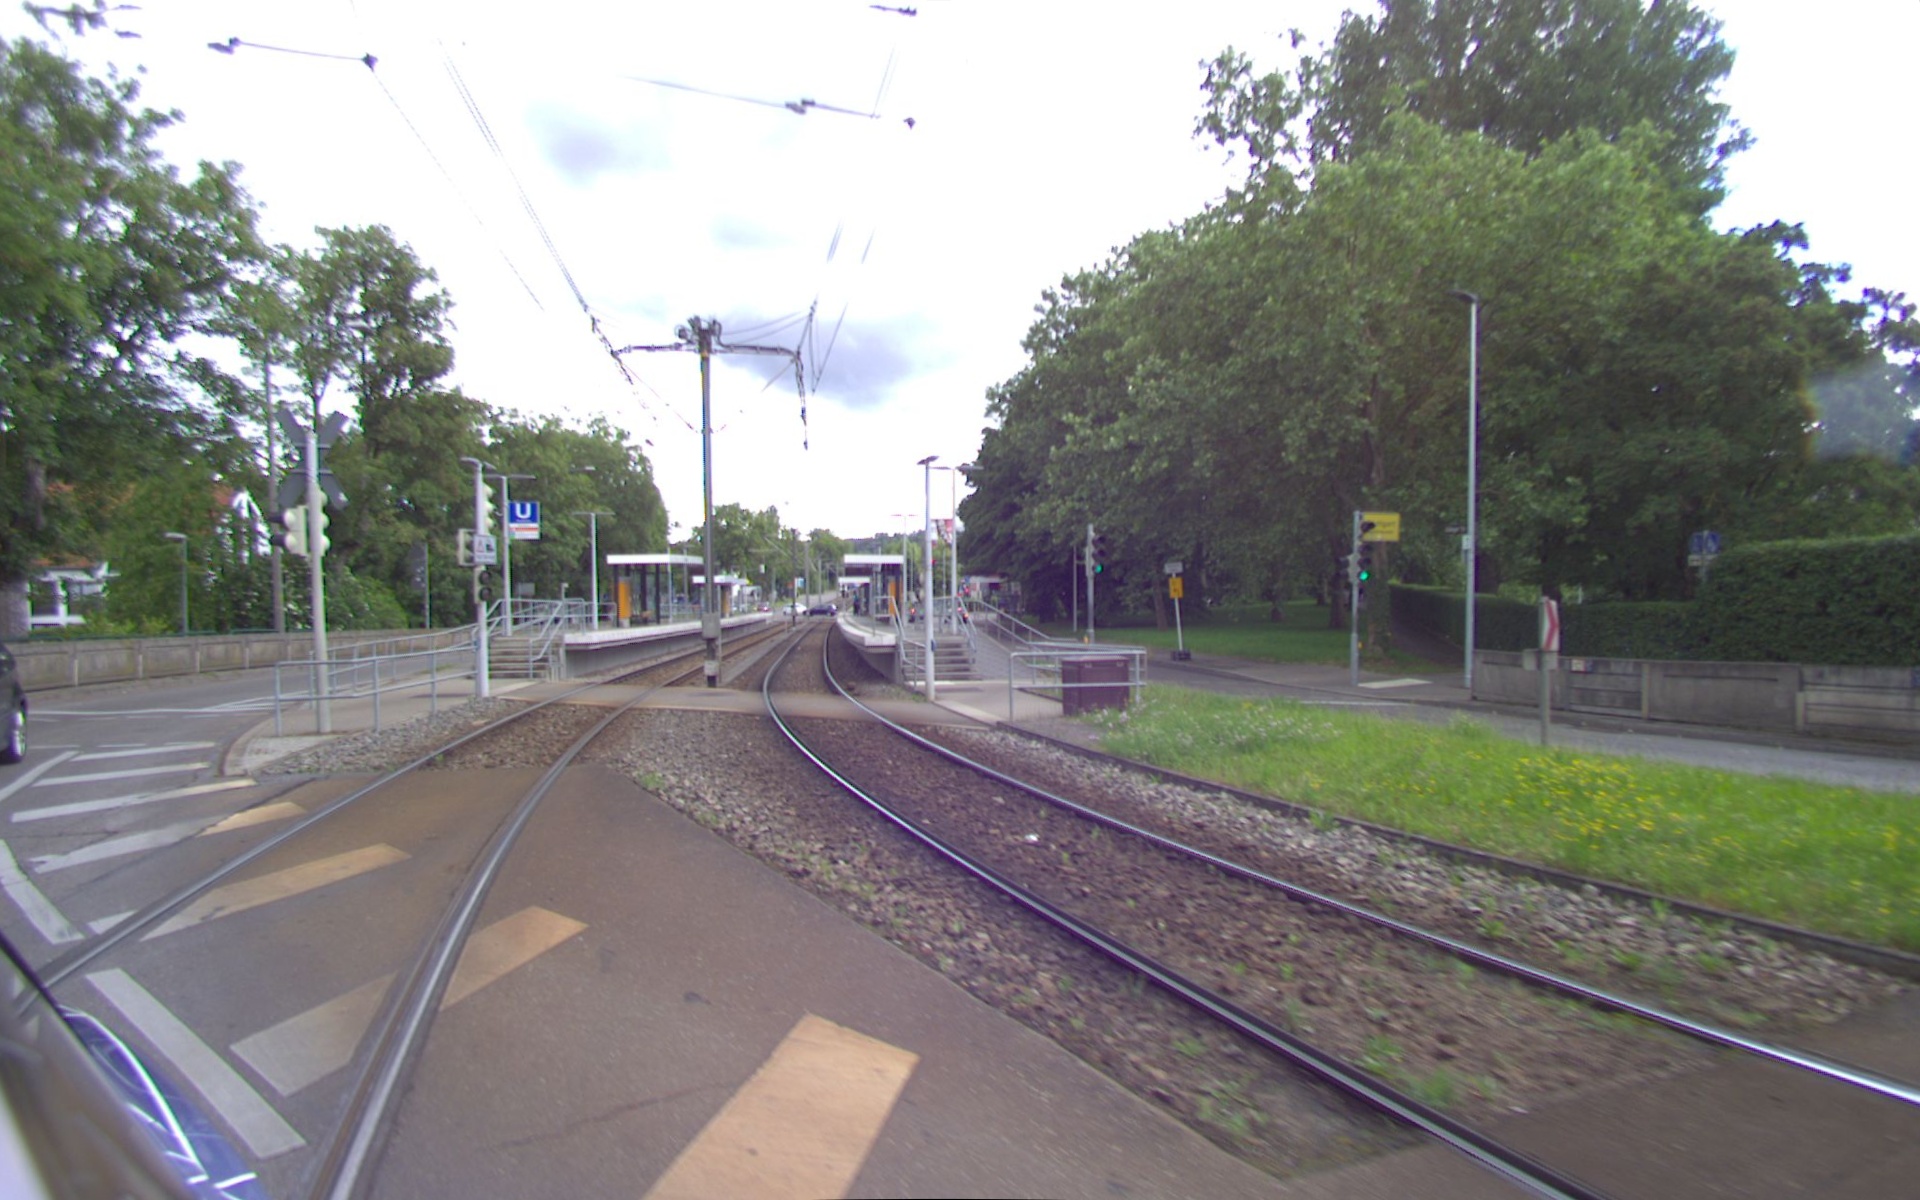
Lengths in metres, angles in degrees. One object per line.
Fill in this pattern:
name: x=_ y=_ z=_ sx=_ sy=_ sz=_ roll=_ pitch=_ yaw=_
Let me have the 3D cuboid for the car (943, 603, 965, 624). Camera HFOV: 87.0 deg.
car: x=-0.598 y=1.259 z=94.869 sx=1.715 sy=1.853 sz=3.805 roll=0 pitch=0 yaw=-6

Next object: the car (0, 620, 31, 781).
car: x=-9.723 y=0.976 z=8.811 sx=1.684 sy=1.595 sz=4.454 roll=0 pitch=-1 yaw=-33

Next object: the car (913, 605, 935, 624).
car: x=-3.430 y=1.326 z=95.318 sx=1.744 sy=1.712 sz=3.799 roll=0 pitch=0 yaw=-6

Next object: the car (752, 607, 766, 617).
car: x=-27.840 y=1.690 z=140.191 sx=1.690 sy=1.294 sz=3.581 roll=0 pitch=0 yaw=-9

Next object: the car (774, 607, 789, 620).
car: x=-21.453 y=1.587 z=121.756 sx=1.677 sy=1.489 sz=3.715 roll=0 pitch=0 yaw=-9
